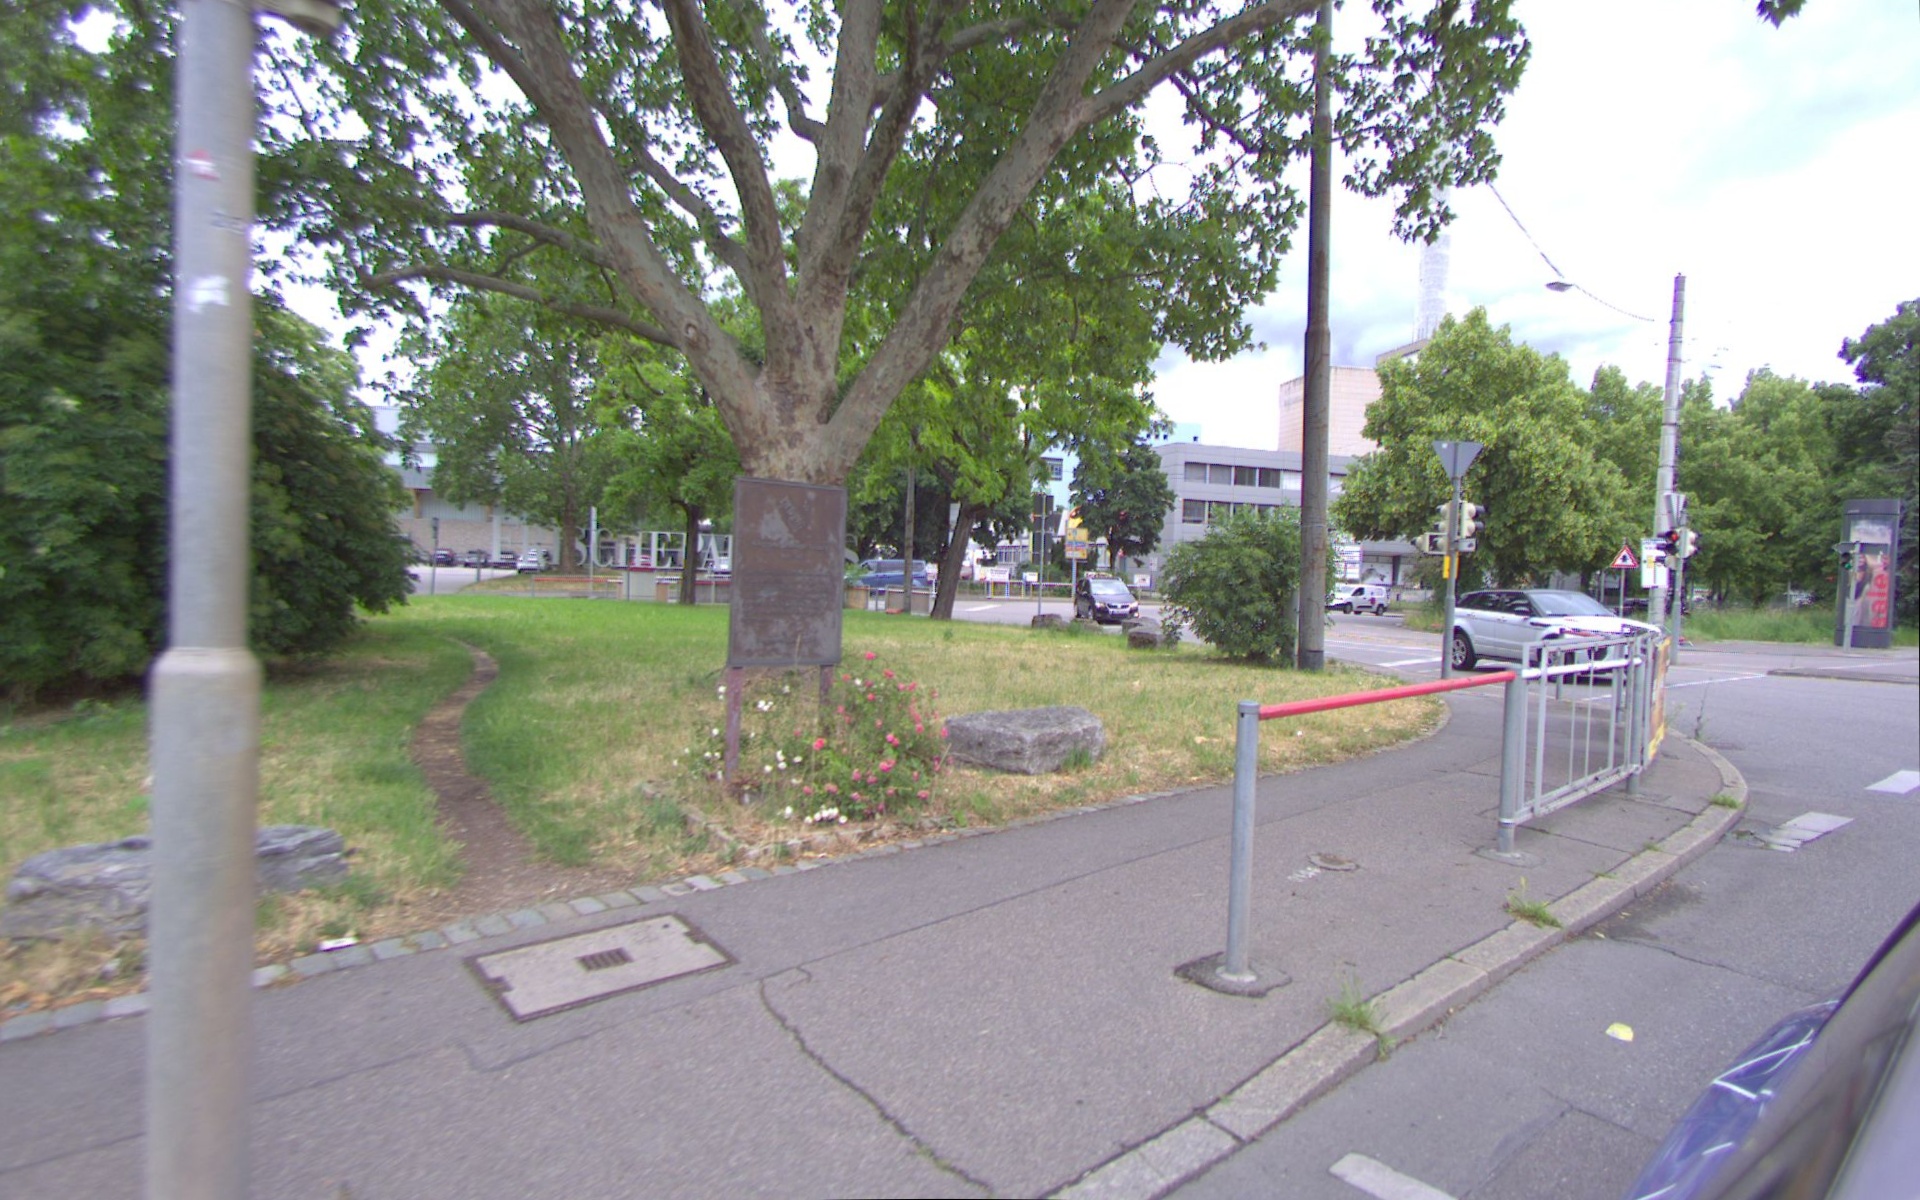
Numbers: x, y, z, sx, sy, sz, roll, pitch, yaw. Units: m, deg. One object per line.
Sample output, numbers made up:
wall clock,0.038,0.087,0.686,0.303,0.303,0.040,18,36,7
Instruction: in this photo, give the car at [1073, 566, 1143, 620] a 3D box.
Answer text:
car,5.450,-0.288,37.847,1.798,1.794,4.232,3,1,-2

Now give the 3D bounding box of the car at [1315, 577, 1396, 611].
car,23.689,-0.408,60.599,4.671,1.682,2.003,-3,5,-30

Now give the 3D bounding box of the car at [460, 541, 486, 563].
car,-39.692,-3.929,82.536,1.717,1.703,3.581,-2,5,-23

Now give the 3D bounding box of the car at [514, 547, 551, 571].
car,-29.375,-2.854,69.605,1.898,1.448,5.266,-2,5,-18

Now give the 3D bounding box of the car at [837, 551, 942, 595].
car,-3.403,-1.296,49.237,4.703,1.969,1.837,1,2,-25

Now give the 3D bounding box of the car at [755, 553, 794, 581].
car,-11.696,-2.115,63.614,1.958,1.474,4.714,-2,5,-15

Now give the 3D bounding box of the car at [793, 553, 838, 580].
car,-9.320,-2.169,64.904,1.958,1.474,4.713,-2,5,-19

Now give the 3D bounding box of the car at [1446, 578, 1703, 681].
car,11.084,0.437,18.652,1.878,1.589,4.120,-1,2,-7

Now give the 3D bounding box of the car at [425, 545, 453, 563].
car,-42.009,-3.706,81.577,1.717,1.331,3.581,-2,5,-23

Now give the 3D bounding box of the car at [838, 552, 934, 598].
car,-3.582,-1.223,49.161,4.150,2.038,2.005,1,3,-25

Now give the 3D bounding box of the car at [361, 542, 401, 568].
car,-37.616,-2.928,65.828,1.876,1.526,4.009,2,2,-24
